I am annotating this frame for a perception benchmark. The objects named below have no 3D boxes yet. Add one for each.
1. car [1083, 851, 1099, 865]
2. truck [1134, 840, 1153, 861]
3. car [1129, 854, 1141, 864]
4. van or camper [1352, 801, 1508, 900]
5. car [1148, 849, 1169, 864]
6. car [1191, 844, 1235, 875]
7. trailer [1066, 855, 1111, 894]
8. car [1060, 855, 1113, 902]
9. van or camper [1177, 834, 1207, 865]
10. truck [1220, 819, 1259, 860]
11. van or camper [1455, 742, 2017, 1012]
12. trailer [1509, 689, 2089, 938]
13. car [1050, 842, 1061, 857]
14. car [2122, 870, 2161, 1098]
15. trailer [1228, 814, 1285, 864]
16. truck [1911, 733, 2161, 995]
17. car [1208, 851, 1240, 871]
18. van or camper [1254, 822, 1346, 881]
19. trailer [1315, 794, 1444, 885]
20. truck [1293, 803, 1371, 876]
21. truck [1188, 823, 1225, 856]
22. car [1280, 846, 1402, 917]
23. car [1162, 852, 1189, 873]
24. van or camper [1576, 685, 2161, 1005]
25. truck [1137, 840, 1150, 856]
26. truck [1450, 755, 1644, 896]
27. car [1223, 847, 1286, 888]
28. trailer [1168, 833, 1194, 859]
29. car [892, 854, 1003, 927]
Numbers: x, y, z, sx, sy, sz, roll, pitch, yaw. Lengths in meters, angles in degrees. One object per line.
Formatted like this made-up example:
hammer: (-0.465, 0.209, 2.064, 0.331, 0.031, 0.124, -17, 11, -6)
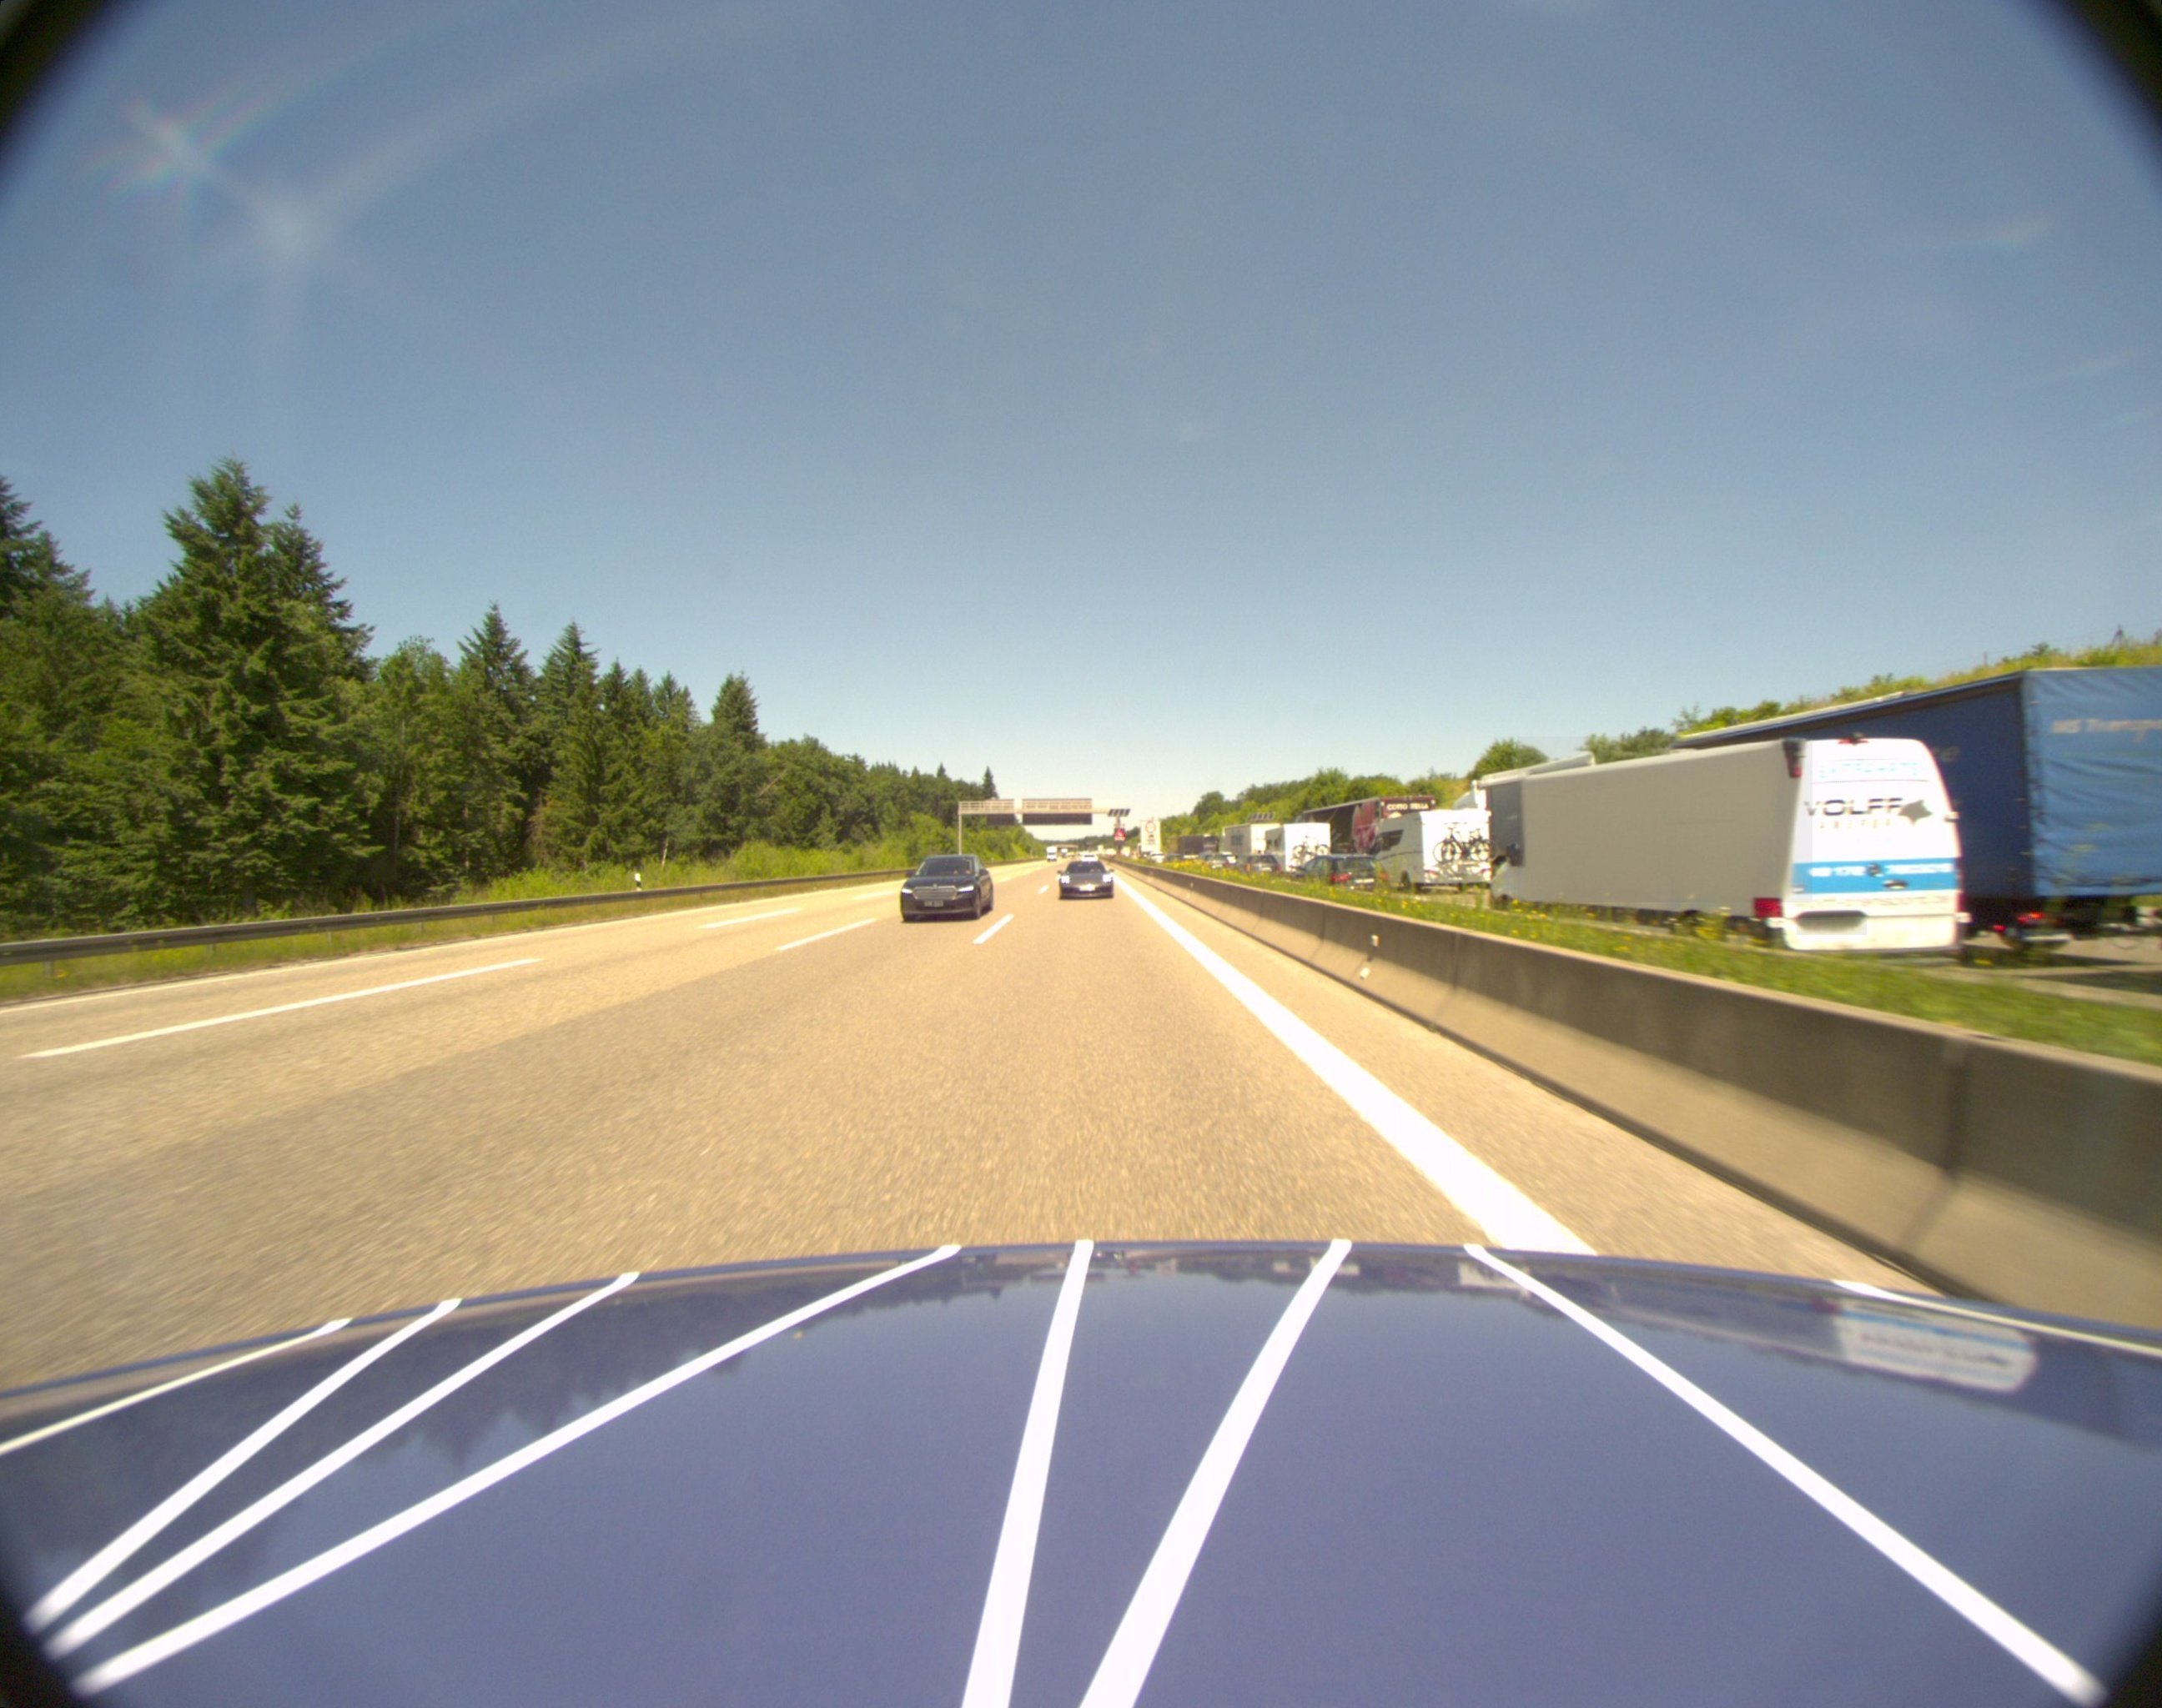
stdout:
car: (1.104, 0.425, 85.476, 1.719, 1.432, 4.456, -1, 1, -1)
truck: (8.547, -0.511, 104.667, 2.125, 2.825, 6.211, -2, 1, 1)
car: (9.108, 0.840, 128.678, 1.816, 1.504, 5.029, -2, 1, 1)
van or camper: (11.785, -0.149, 26.474, 2.156, 2.906, 7.223, -2, 1, 1)
car: (8.544, 0.256, 84.407, 1.816, 1.624, 5.029, -2, 1, 1)
car: (8.217, 0.302, 47.633, 1.816, 1.799, 5.542, -2, 1, 1)
trailer: (0.304, 0.792, 30.373, 1.689, 1.399, 3.046, -2, 0, 1)
car: (0.241, 0.813, 27.101, 1.718, 1.432, 4.457, -1, 1, 1)
van or camper: (12.815, -0.598, 88.288, 2.535, 3.340, 7.943, -2, 1, 2)
truck: (16.593, -1.526, 79.871, 2.788, 4.090, 7.029, -1, 1, 1)
van or camper: (7.804, 0.183, 10.430, 2.198, 2.526, 6.415, -1, 1, 0)
trailer: (15.373, -0.738, 18.723, 2.787, 4.010, 12.249, -2, 1, 1)
car: (-5.848, -1.150, 174.840, 2.303, 3.317, 7.620, -2, 1, -1)
car: (7.619, 0.818, 2.654, 1.906, 1.400, 4.430, -1, 1, 0)
trailer: (16.488, -1.395, 72.310, 2.788, 4.280, 11.709, -1, 1, 1)
truck: (11.384, 0.095, 5.974, 2.240, 2.491, 6.861, -1, 1, 0)
car: (12.330, 0.571, 65.810, 1.816, 1.534, 4.997, -2, 1, 1)
van or camper: (12.132, -0.168, 42.897, 2.848, 2.931, 8.112, -2, 1, 1)
trailer: (15.834, -0.769, 41.421, 2.796, 4.216, 10.791, -2, 1, 1)
truck: (15.916, -0.894, 48.725, 2.788, 4.280, 7.028, -1, 1, 1)
truck: (17.008, -1.927, 103.684, 3.064, 4.197, 11.486, -2, 1, 1)
car: (7.269, 0.675, 21.806, 1.816, 1.720, 4.934, -2, 1, 1)
car: (8.297, 0.736, 67.230, 1.816, 1.624, 5.029, -2, 1, 1)
van or camper: (11.400, -0.145, 11.899, 2.318, 3.370, 7.679, -1, 1, 0)
truck: (16.619, -1.608, 203.386, 2.632, 3.875, 8.954, -2, 1, 1)
truck: (15.466, -0.885, 25.836, 2.808, 4.104, 6.140, -2, 1, 1)
car: (8.078, 0.562, 35.838, 1.816, 1.720, 4.972, -2, 1, 1)
trailer: (16.644, -1.314, 126.960, 2.657, 4.120, 11.854, -2, 1, 0)
car: (-3.364, 0.864, 20.051, 1.989, 1.610, 4.457, -1, 1, 1)
